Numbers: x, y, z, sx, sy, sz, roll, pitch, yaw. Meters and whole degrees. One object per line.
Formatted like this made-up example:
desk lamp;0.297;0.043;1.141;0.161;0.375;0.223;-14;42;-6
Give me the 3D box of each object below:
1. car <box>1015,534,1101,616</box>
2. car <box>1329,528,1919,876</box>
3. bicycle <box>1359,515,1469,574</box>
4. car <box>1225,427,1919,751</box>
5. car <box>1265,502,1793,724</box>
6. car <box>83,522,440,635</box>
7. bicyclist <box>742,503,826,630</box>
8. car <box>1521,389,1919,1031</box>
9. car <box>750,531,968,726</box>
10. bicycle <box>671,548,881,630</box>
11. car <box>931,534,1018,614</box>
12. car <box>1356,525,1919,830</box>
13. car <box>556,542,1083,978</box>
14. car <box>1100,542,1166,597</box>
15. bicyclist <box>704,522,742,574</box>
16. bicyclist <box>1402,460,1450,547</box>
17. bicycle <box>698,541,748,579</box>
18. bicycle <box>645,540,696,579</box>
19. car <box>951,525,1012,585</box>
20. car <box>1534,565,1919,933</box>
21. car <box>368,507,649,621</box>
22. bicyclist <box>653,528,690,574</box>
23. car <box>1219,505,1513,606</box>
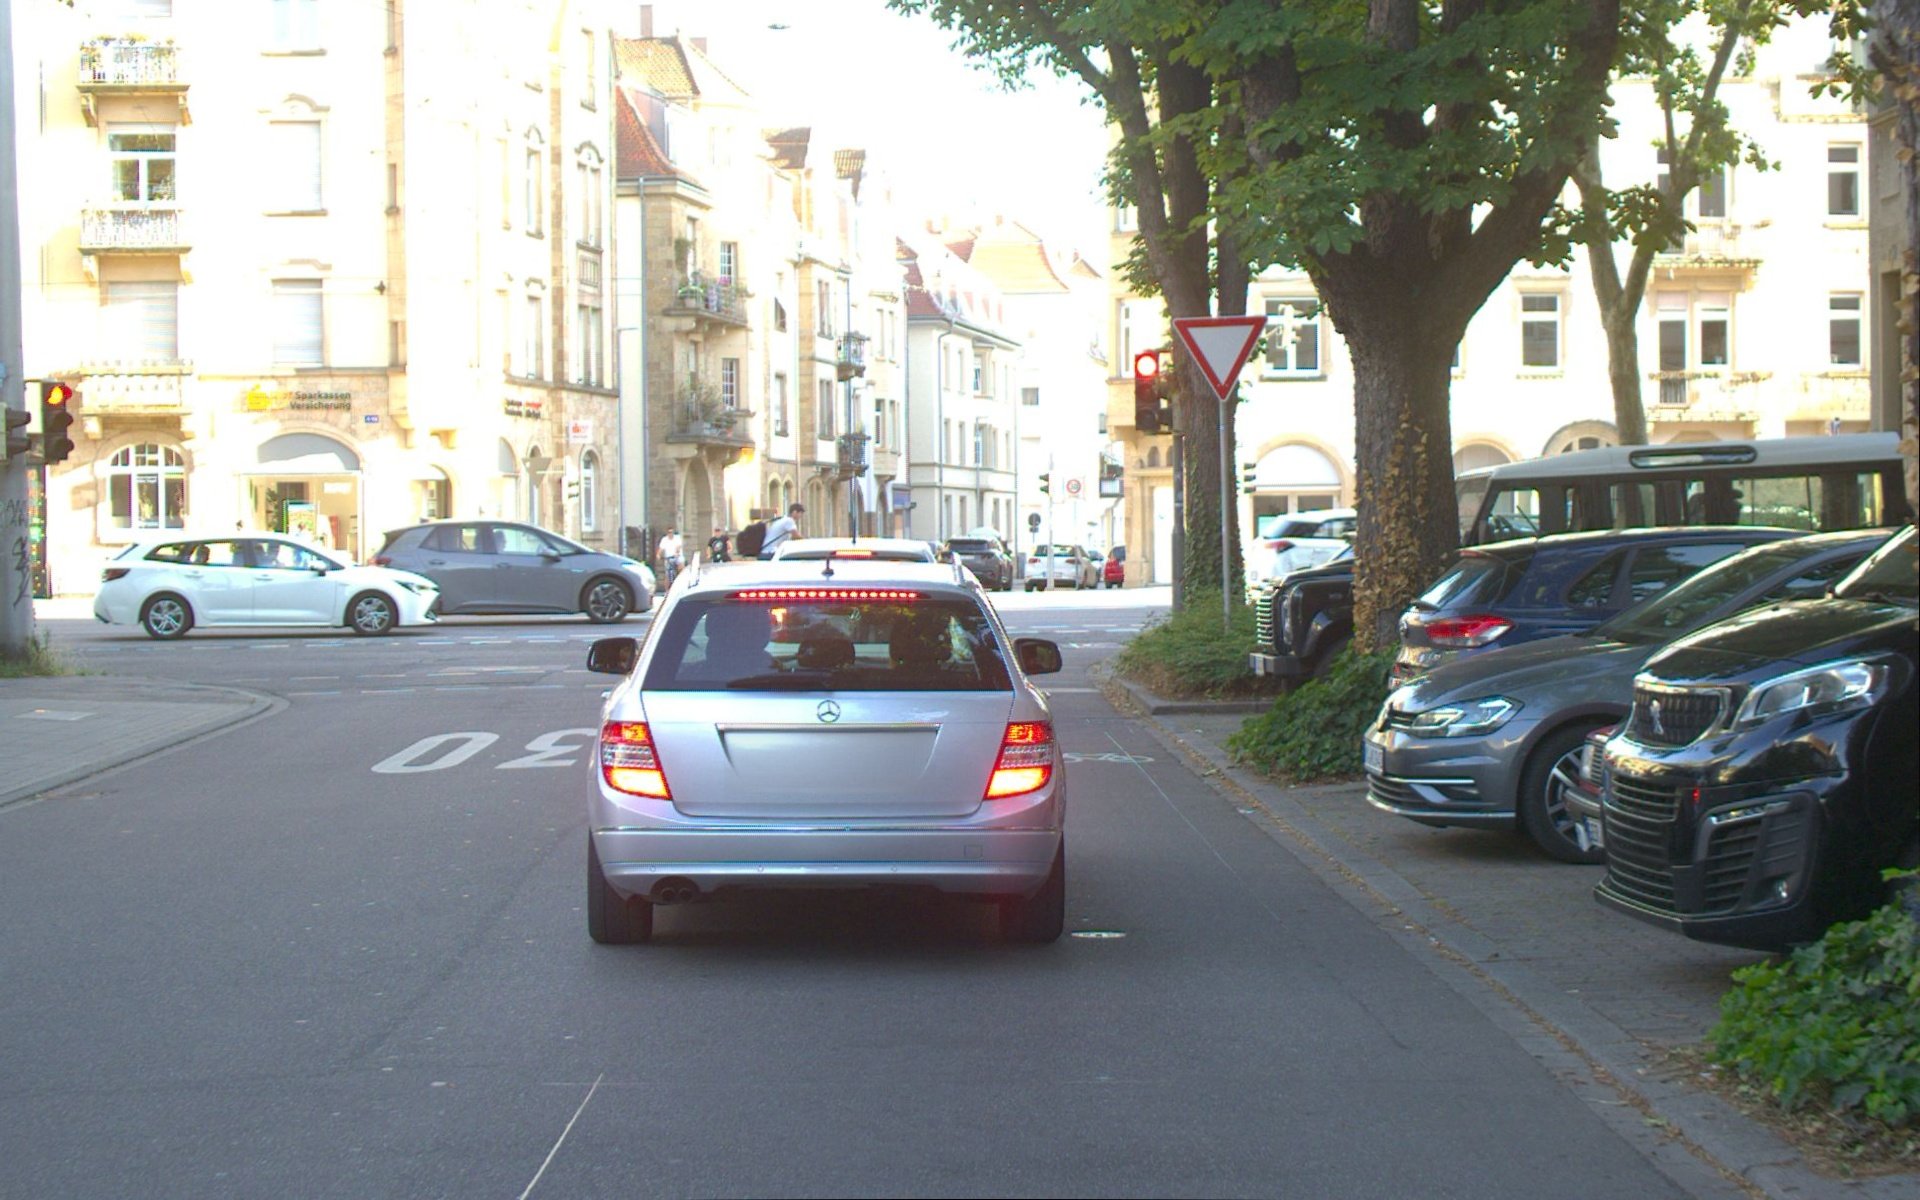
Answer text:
car;2.854;-0.741;99.568;2.031;2.272;3.999;0;2;8
car;3.893;0.412;16.044;4.052;1.447;1.723;-2;1;-3
bicycle;9.774;-1.202;74.048;2.256;1.242;0.637;-1;1;-4
car;4.198;-0.091;23.801;4.465;2.029;1.701;-2;1;-3
car;4.373;0.080;26.752;3.723;1.564;1.709;-2;1;-3
car;-9.437;-0.317;46.747;4.660;1.443;1.740;-1;1;-9
bicyclist;-2.330;-0.446;45.448;0.997;1.648;0.807;-1;1;-11
car;4.422;0.245;11.226;4.748;1.868;1.898;-2;1;-4
car;-0.826;0.170;27.744;1.619;1.442;4.345;0;1;-2
bicycle;-2.436;-0.150;45.432;2.682;1.036;0.807;-1;1;-11
car;0.445;-0.798;101.951;2.031;2.272;3.999;0;2;8
car;4.115;0.361;18.244;3.723;1.447;1.709;-2;1;-3
car;-0.549;0.503;13.901;1.777;1.447;4.548;0;1;-2
car;5.824;-1.042;115.582;1.835;1.738;3.999;0;2;8
bicyclist;-6.009;-1.322;87.185;0.771;1.285;0.752;0;2;11
bicyclist;10.034;-2.071;74.059;0.891;1.853;0.637;-1;1;-4
bicycle;-6.009;-1.030;87.191;0.771;0.930;1.939;0;2;11
bicycle;-7.333;-1.031;87.111;0.771;0.936;1.939;0;2;11
car;0.825;-1.728;131.024;1.788;2.196;3.999;0;2;8
car;4.544;0.507;13.741;4.135;1.311;1.630;-2;1;-4
car;-6.572;-0.535;50.113;3.965;1.576;1.740;-1;1;-8
bicyclist;-7.316;-1.253;87.184;0.771;1.152;0.752;0;2;11
car;6.100;-0.687;51.902;4.099;1.417;1.740;-1;2;-8
